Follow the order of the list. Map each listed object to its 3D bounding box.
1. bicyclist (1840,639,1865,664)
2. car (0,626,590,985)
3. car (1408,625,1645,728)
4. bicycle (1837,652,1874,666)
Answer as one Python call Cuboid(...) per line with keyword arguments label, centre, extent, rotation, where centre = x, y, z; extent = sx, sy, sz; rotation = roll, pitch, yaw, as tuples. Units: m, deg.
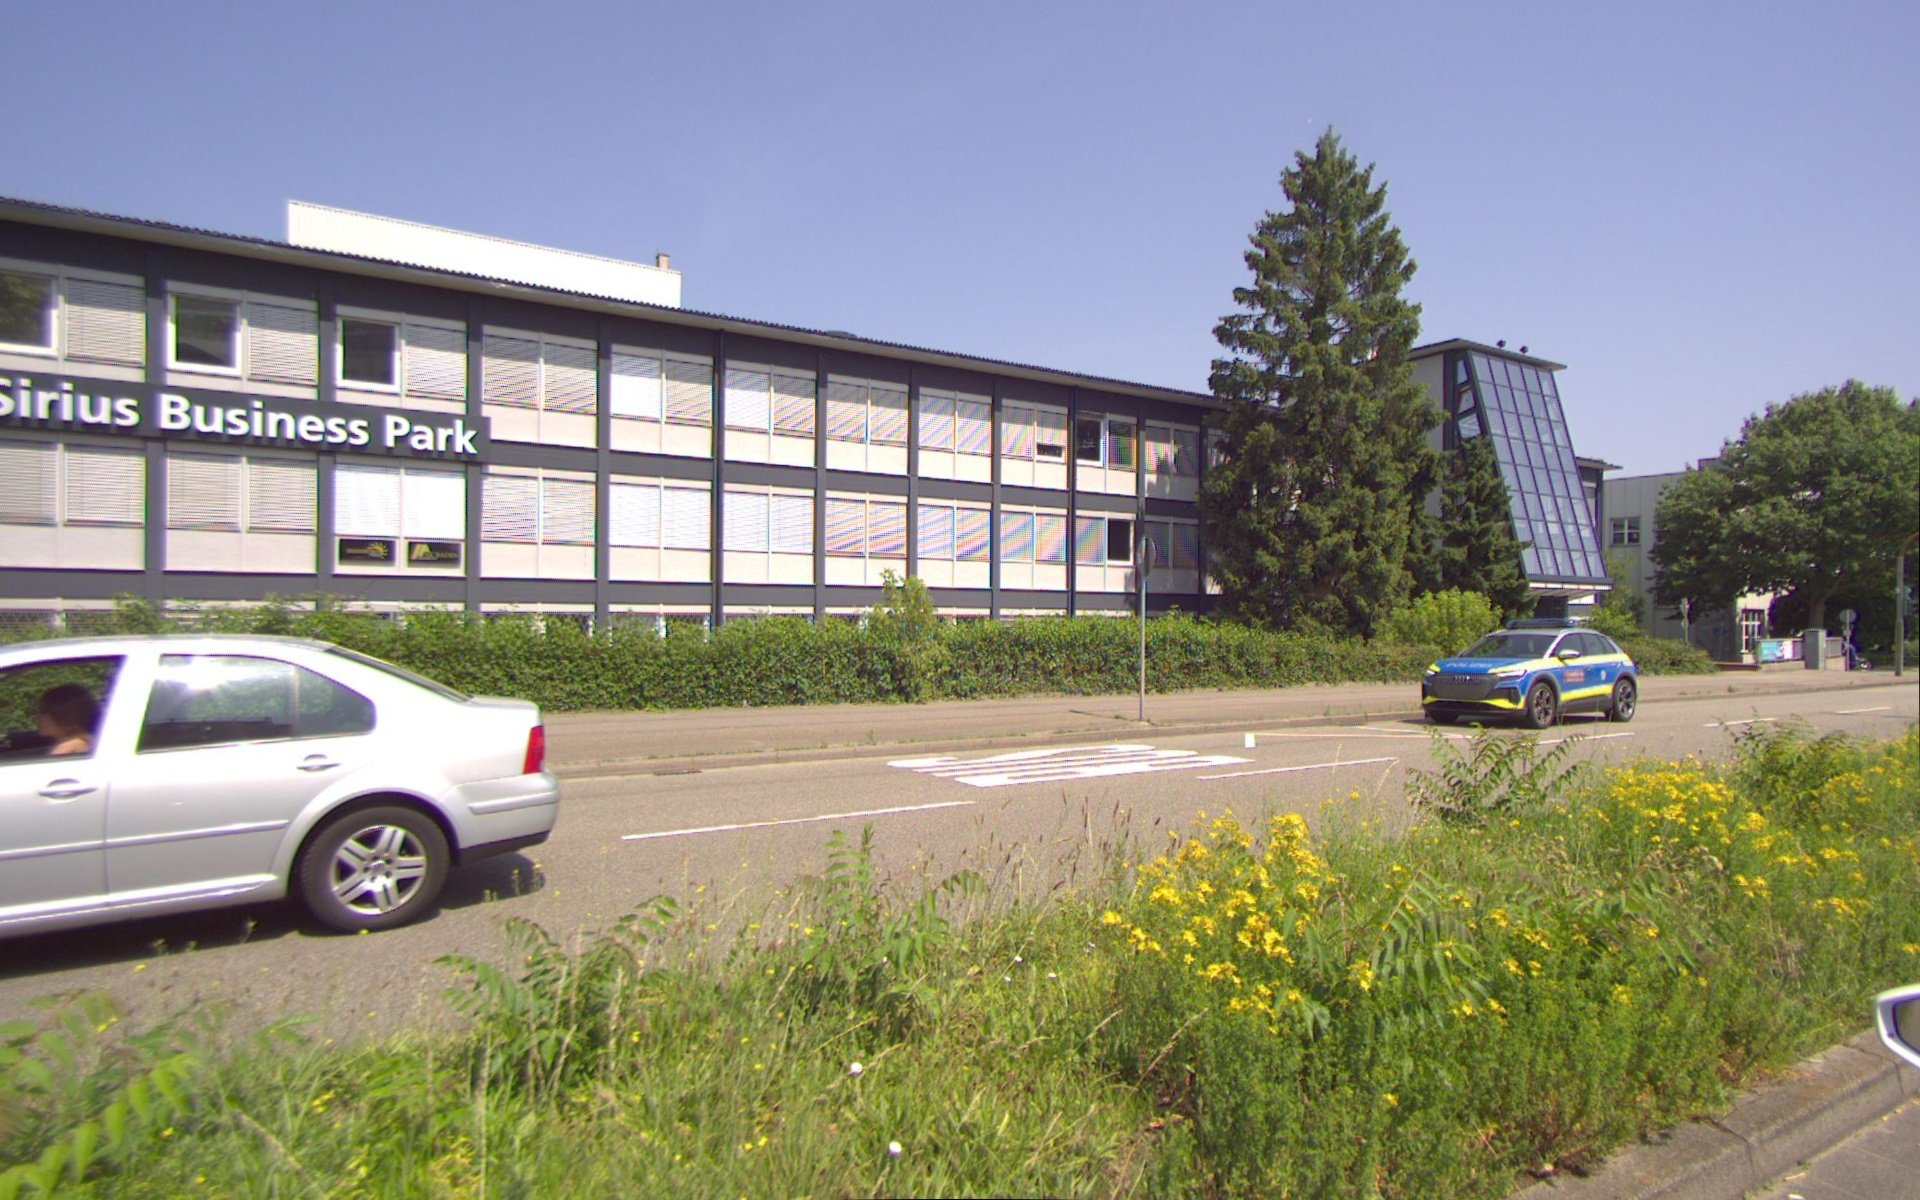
Cuboid(label="bicyclist", centre=(48.605, 2.787, 54.689), extent=(0.832, 1.334, 0.659), rotation=(0, -2, 24))
Cuboid(label="car", centre=(-4.153, 0.858, 4.940), extent=(4.053, 1.437, 1.747), rotation=(2, -2, -36))
Cuboid(label="car", centre=(9.880, 1.265, 17.430), extent=(4.242, 1.580, 1.883), rotation=(2, -3, -34))
Cuboid(label="bicycle", centre=(48.691, 3.209, 54.615), extent=(1.389, 0.747, 0.602), rotation=(0, -2, 23))
